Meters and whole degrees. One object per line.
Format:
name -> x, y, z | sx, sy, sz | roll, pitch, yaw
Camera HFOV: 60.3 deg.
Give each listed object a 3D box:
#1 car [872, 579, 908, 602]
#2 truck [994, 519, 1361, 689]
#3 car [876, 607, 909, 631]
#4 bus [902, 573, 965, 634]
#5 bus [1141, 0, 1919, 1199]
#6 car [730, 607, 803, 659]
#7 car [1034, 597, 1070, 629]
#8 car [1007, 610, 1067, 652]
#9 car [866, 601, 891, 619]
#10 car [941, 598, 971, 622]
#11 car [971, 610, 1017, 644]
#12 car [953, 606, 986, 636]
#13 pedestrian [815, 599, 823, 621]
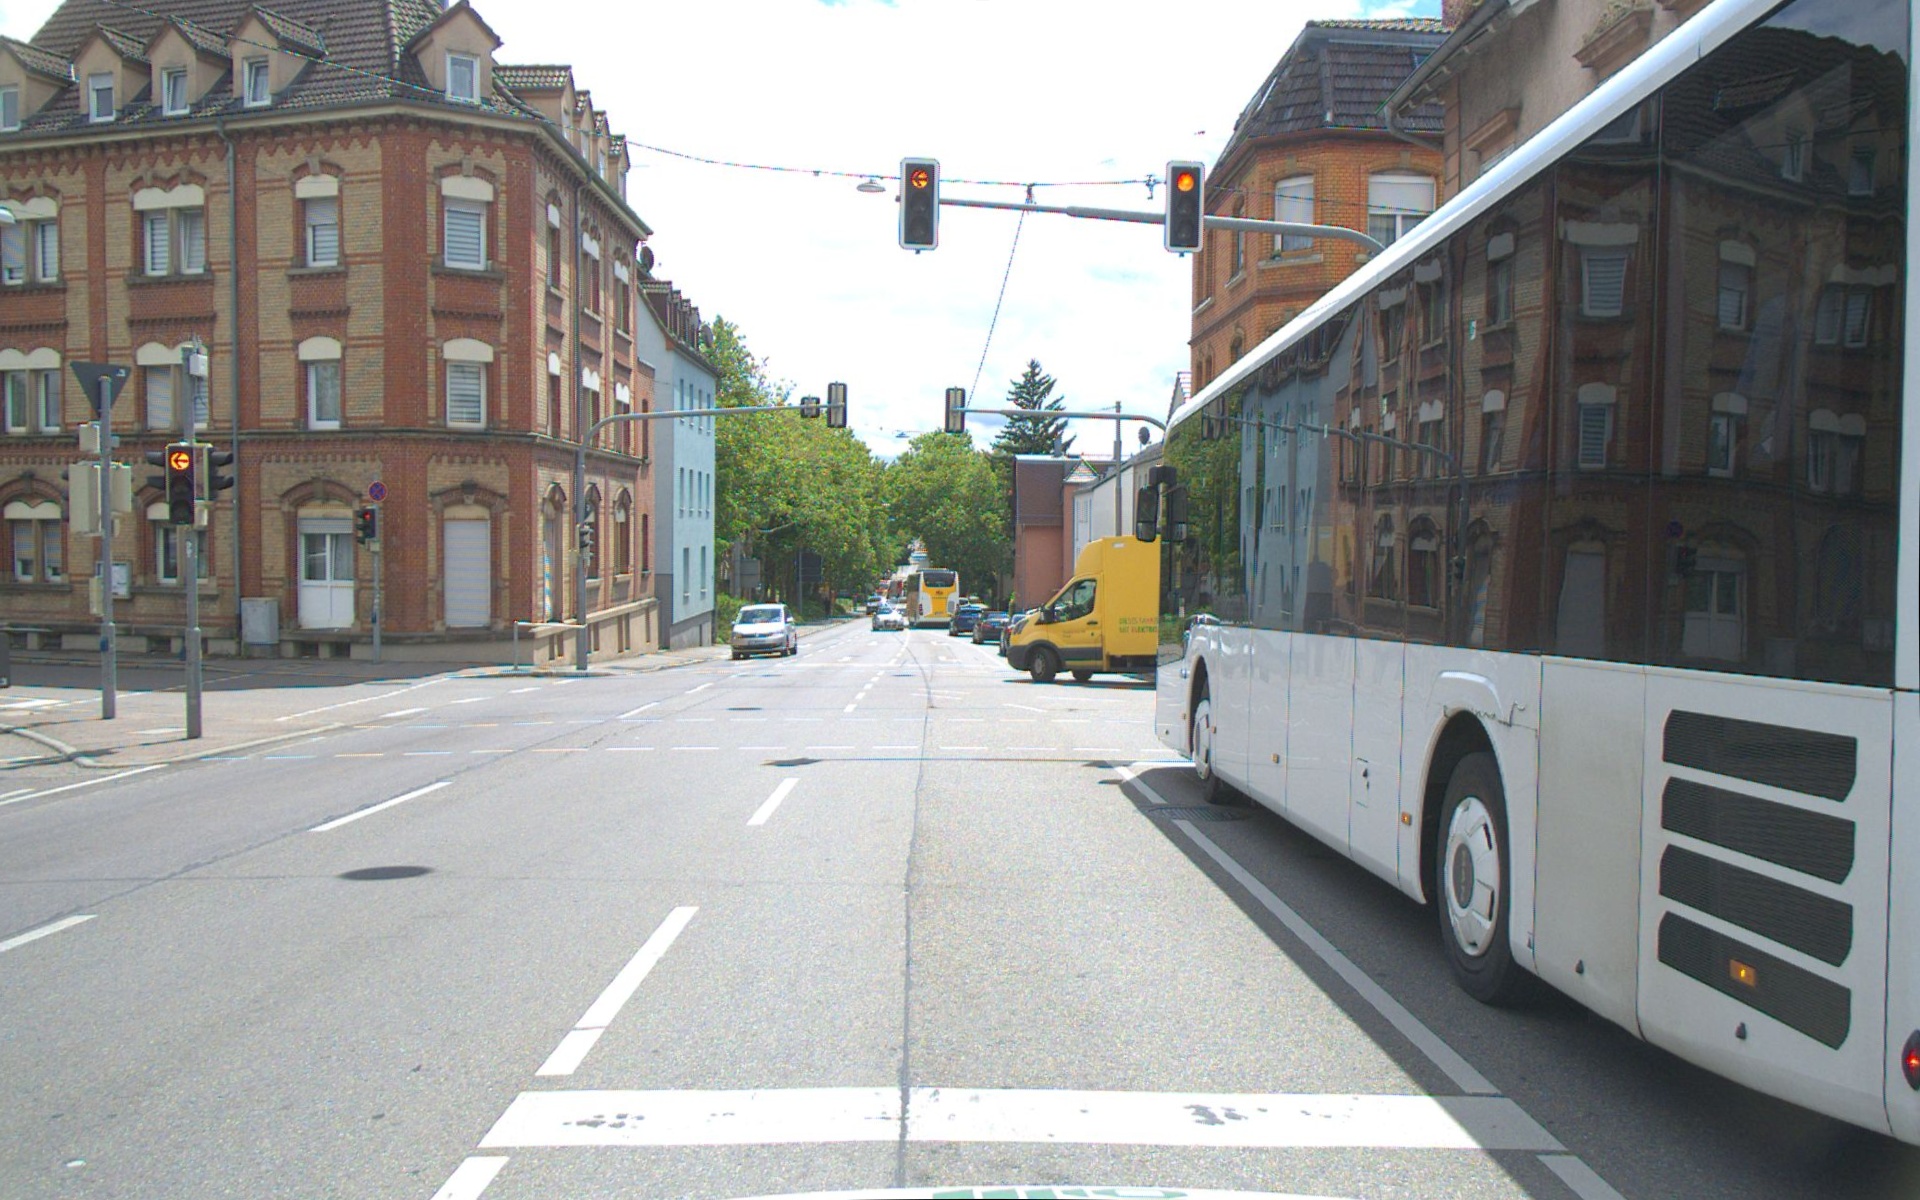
car -> -10.184, -1.376, 241.508 | 2.106, 3.124, 5.602 | 1, -1, 37
truck -> 4.099, 0.048, 31.485 | 6.425, 2.964, 2.546 | 1, 0, 28
car -> -3.952, 1.114, 97.837 | 1.827, 1.391, 4.546 | 0, 0, -1
bus -> -1.825, 0.202, 106.416 | 3.236, 3.694, 11.232 | -1, 0, -5
bus -> 3.238, -0.132, 9.307 | 2.845, 3.571, 12.484 | 1, 0, -1
car -> -6.201, 1.030, 53.346 | 1.896, 1.591, 4.388 | 0, 0, -1
car -> 5.169, 0.716, 93.242 | 1.731, 1.695, 3.999 | 0, 0, -1
car -> 2.519, 1.004, 54.883 | 1.761, 1.298, 3.999 | -1, 0, -1
car -> -7.599, 0.882, 154.813 | 2.162, 1.641, 4.546 | 0, 0, -1
car -> -0.310, 0.783, 129.067 | 2.050, 1.862, 4.139 | 0, 0, -4
car -> 1.421, 1.157, 71.531 | 1.827, 1.391, 4.546 | 0, 0, -1
car -> 0.469, 1.022, 82.571 | 1.576, 1.400, 3.999 | 0, 0, -1
pedestrian -> -11.620, 0.843, 136.360 | 0.594, 1.789, 0.653 | 0, 0, -2
